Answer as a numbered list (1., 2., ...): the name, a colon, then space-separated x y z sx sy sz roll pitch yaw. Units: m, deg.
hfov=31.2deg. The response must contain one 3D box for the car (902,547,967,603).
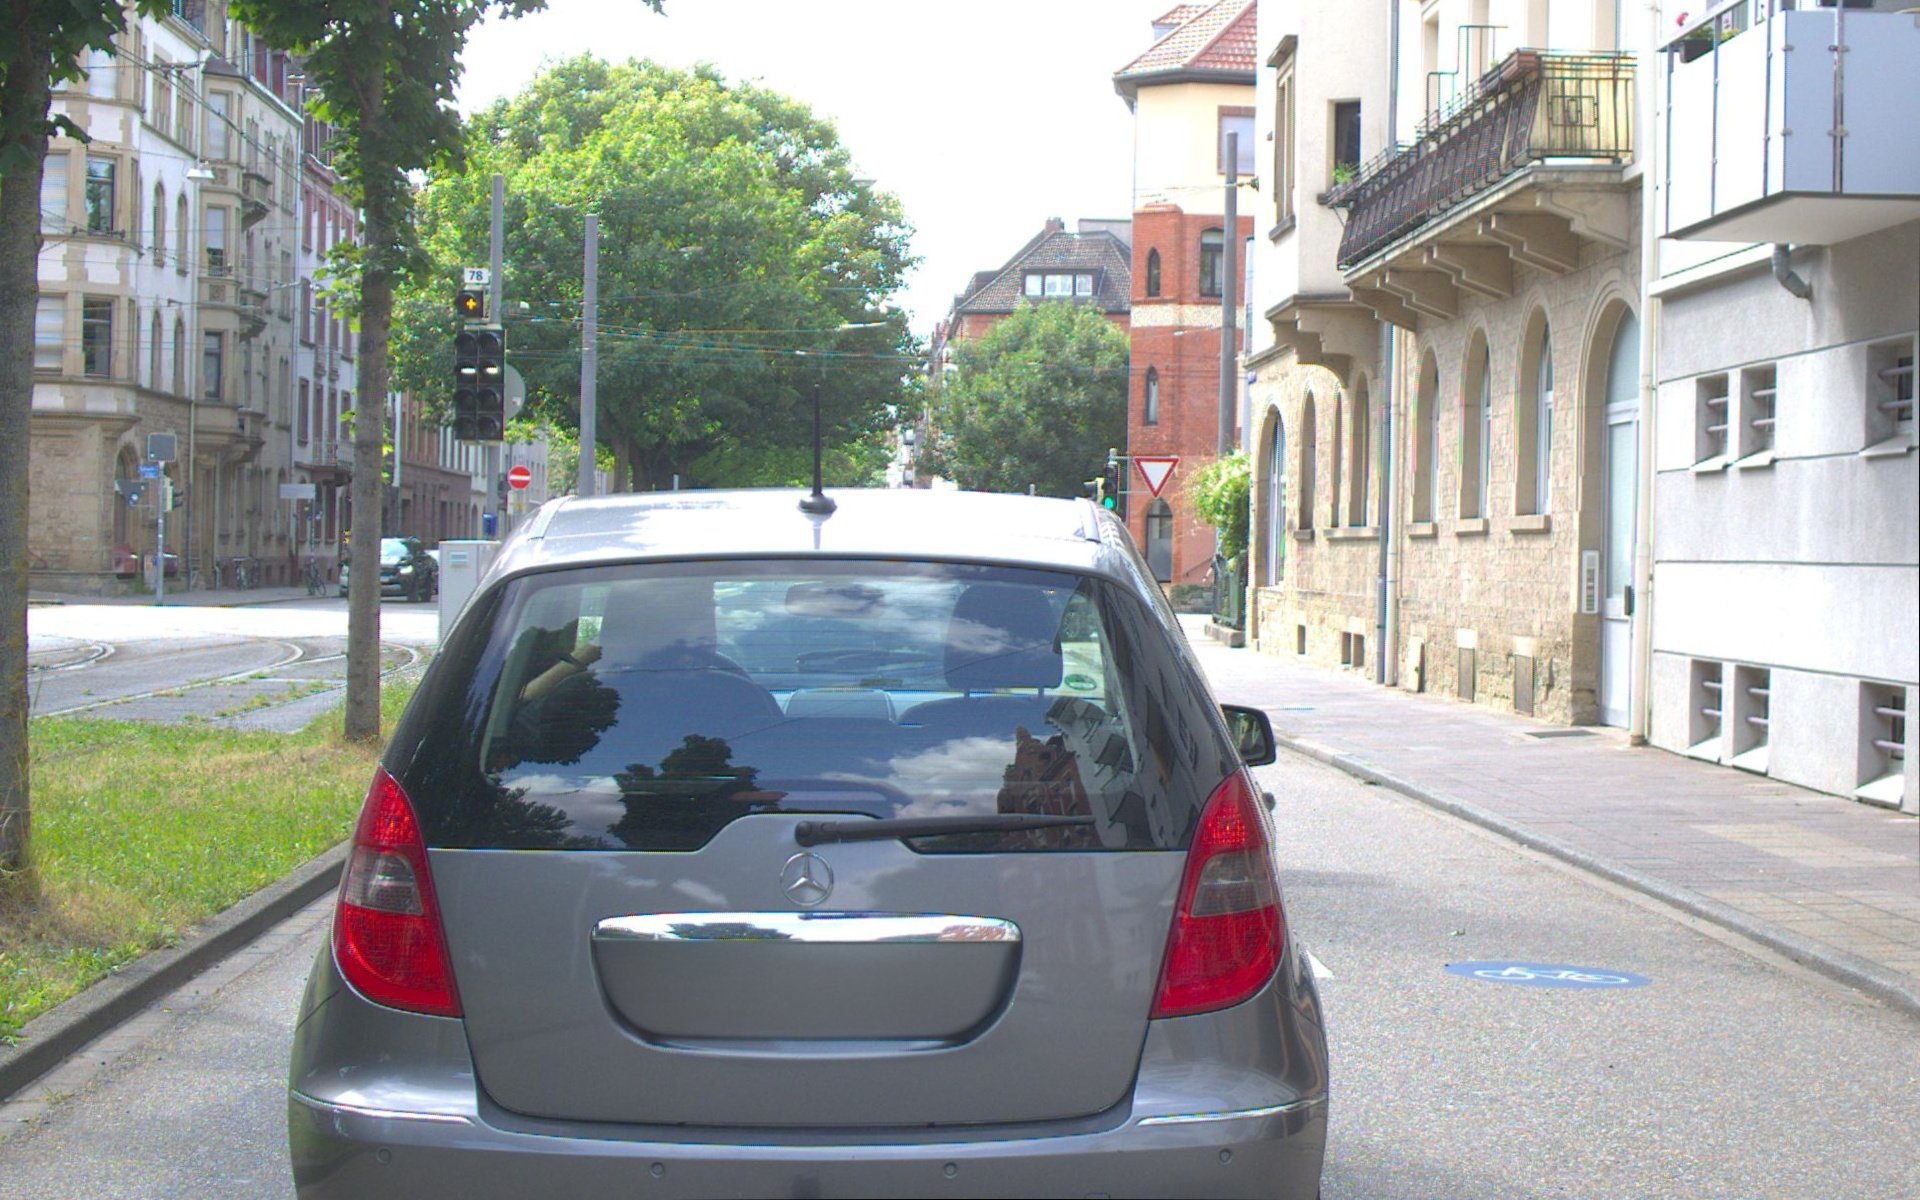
1. car: -0.758 -0.768 103.979 1.752 1.627 3.499 1 1 2

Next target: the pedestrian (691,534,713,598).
1. pedestrian: -7.052 -0.931 93.981 0.493 1.719 0.654 1 1 -9

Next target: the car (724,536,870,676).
1. car: -2.055 0.051 44.064 1.722 1.700 3.677 1 1 -1

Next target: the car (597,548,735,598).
1. car: -8.458 -0.781 98.584 1.969 1.334 3.999 1 1 -40

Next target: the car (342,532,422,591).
1. car: -16.056 -1.074 95.692 1.993 1.612 4.001 0 1 -7

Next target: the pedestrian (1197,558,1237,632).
1. pedestrian: 5.854 -0.121 78.366 0.869 1.651 0.736 1 1 3

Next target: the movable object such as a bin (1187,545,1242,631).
1. movable object such as a bin: 4.392 -0.211 59.295 0.714 1.467 0.983 0 1 -10

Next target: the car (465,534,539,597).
1. car: -12.934 -0.973 97.232 1.993 1.722 4.001 0 1 -7

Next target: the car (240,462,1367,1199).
1. car: -0.263 0.573 7.126 1.722 1.600 3.677 1 1 -1

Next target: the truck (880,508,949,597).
1. truck: -1.523 -1.610 116.931 2.123 2.960 4.000 1 1 2
